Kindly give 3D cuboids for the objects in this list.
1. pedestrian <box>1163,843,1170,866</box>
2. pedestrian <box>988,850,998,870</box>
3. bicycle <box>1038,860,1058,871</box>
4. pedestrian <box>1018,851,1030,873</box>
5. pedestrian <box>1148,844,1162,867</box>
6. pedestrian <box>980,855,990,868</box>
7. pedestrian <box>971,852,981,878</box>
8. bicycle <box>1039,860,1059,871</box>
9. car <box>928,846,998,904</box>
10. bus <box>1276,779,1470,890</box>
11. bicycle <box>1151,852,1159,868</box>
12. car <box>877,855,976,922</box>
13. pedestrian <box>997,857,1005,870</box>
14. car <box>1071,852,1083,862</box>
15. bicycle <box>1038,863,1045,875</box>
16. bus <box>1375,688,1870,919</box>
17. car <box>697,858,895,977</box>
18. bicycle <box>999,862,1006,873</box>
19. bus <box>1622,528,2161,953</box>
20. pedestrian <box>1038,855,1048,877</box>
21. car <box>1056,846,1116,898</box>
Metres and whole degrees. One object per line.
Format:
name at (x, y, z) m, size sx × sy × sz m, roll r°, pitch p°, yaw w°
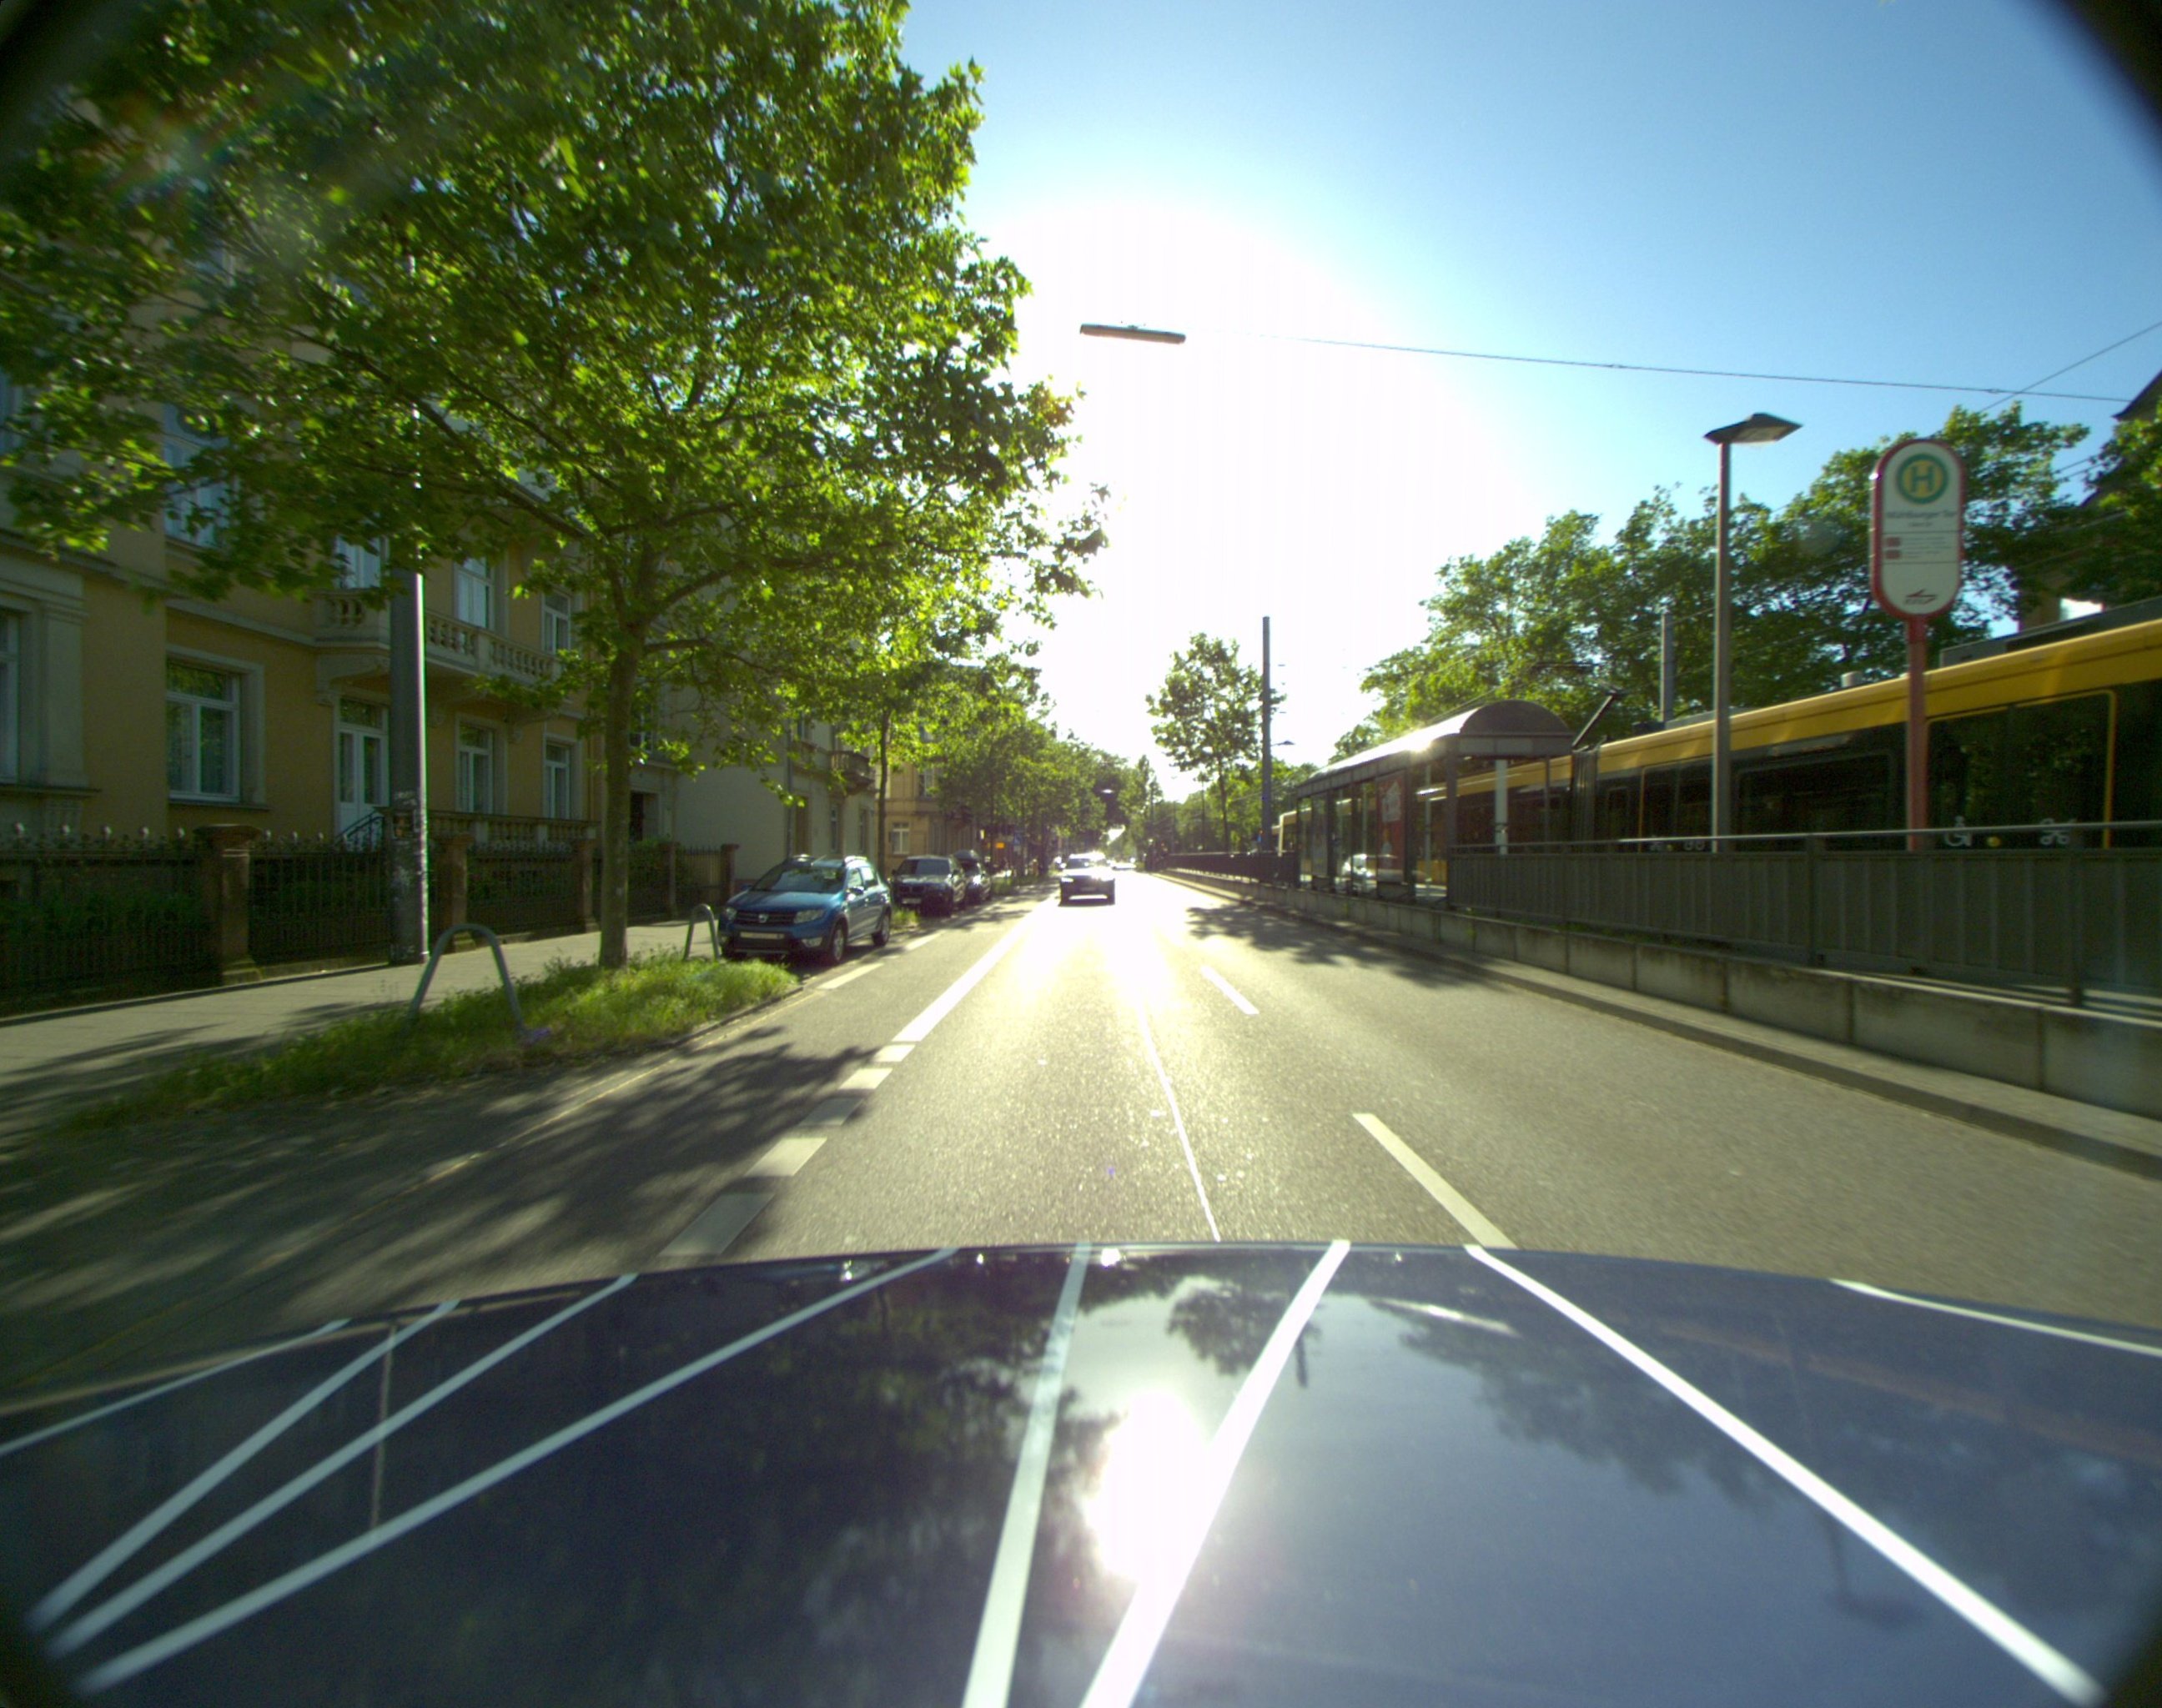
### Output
pedestrian at (6.818, 0.035, 60.611) m, size 0.452 × 1.892 × 0.584 m, roll 0°, pitch 1°, yaw -6°
pedestrian at (-8.076, 0.535, 69.750) m, size 0.468 × 1.800 × 0.775 m, roll -2°, pitch 0°, yaw 33°
bicycle at (-3.356, 1.182, 78.102) m, size 2.019 × 0.987 × 0.444 m, roll -2°, pitch 0°, yaw -1°
pedestrian at (-5.494, 0.777, 73.193) m, size 0.884 × 2.002 × 0.857 m, roll -2°, pitch 0°, yaw 5°
pedestrian at (6.351, 0.143, 64.995) m, size 1.075 × 1.905 × 1.126 m, roll 0°, pitch 1°, yaw -1°
pedestrian at (-8.806, 0.729, 69.975) m, size 0.654 × 1.154 × 0.672 m, roll -2°, pitch 0°, yaw -35°
pedestrian at (-7.546, 0.776, 54.824) m, size 0.565 × 1.816 × 0.959 m, roll -2°, pitch 0°, yaw -2°
bicycle at (-3.351, 1.190, 78.597) m, size 2.009 × 0.987 × 0.444 m, roll -2°, pitch 0°, yaw -1°
car at (-4.237, 0.725, 28.041) m, size 1.759 × 1.953 × 4.738 m, roll -1°, pitch 0°, yaw 1°
bus at (10.727, -0.565, 30.108) m, size 2.876 × 3.423 × 13.218 m, roll 0°, pitch 0°, yaw 1°
bicycle at (5.927, 0.465, 61.100) m, size 0.329 × 1.207 × 1.828 m, roll 0°, pitch 0°, yaw -5°
car at (-4.285, 0.885, 21.826) m, size 1.802 × 1.690 × 4.737 m, roll 0°, pitch 0°, yaw 1°
pedestrian at (-7.468, 0.875, 70.944) m, size 0.648 × 1.154 × 0.610 m, roll -2°, pitch 0°, yaw -10°
car at (-0.618, 0.450, 115.406) m, size 1.705 × 1.415 × 4.517 m, roll -2°, pitch -1°, yaw 0°
bicycle at (-3.114, 1.169, 59.881) m, size 0.429 × 0.964 × 1.751 m, roll -2°, pitch -1°, yaw 1°
bus at (10.418, -0.705, 17.421) m, size 2.876 × 3.423 × 12.216 m, roll 0°, pitch 0°, yaw 1°
car at (-4.446, 0.917, 12.547) m, size 1.696 × 1.648 × 4.040 m, roll 0°, pitch -1°, yaw 1°
bicycle at (-7.839, 1.340, 75.781) m, size 0.444 × 0.987 × 1.689 m, roll -2°, pitch -1°, yaw 0°
bus at (10.167, -0.918, 6.622) m, size 2.876 × 3.423 × 11.612 m, roll 0°, pitch 0°, yaw 1°
pedestrian at (-3.228, 1.009, 64.000) m, size 0.643 × 1.761 × 0.869 m, roll -2°, pitch 0°, yaw 7°
car at (0.263, 0.629, 27.352) m, size 1.968 × 1.663 × 4.001 m, roll -2°, pitch -1°, yaw 3°
